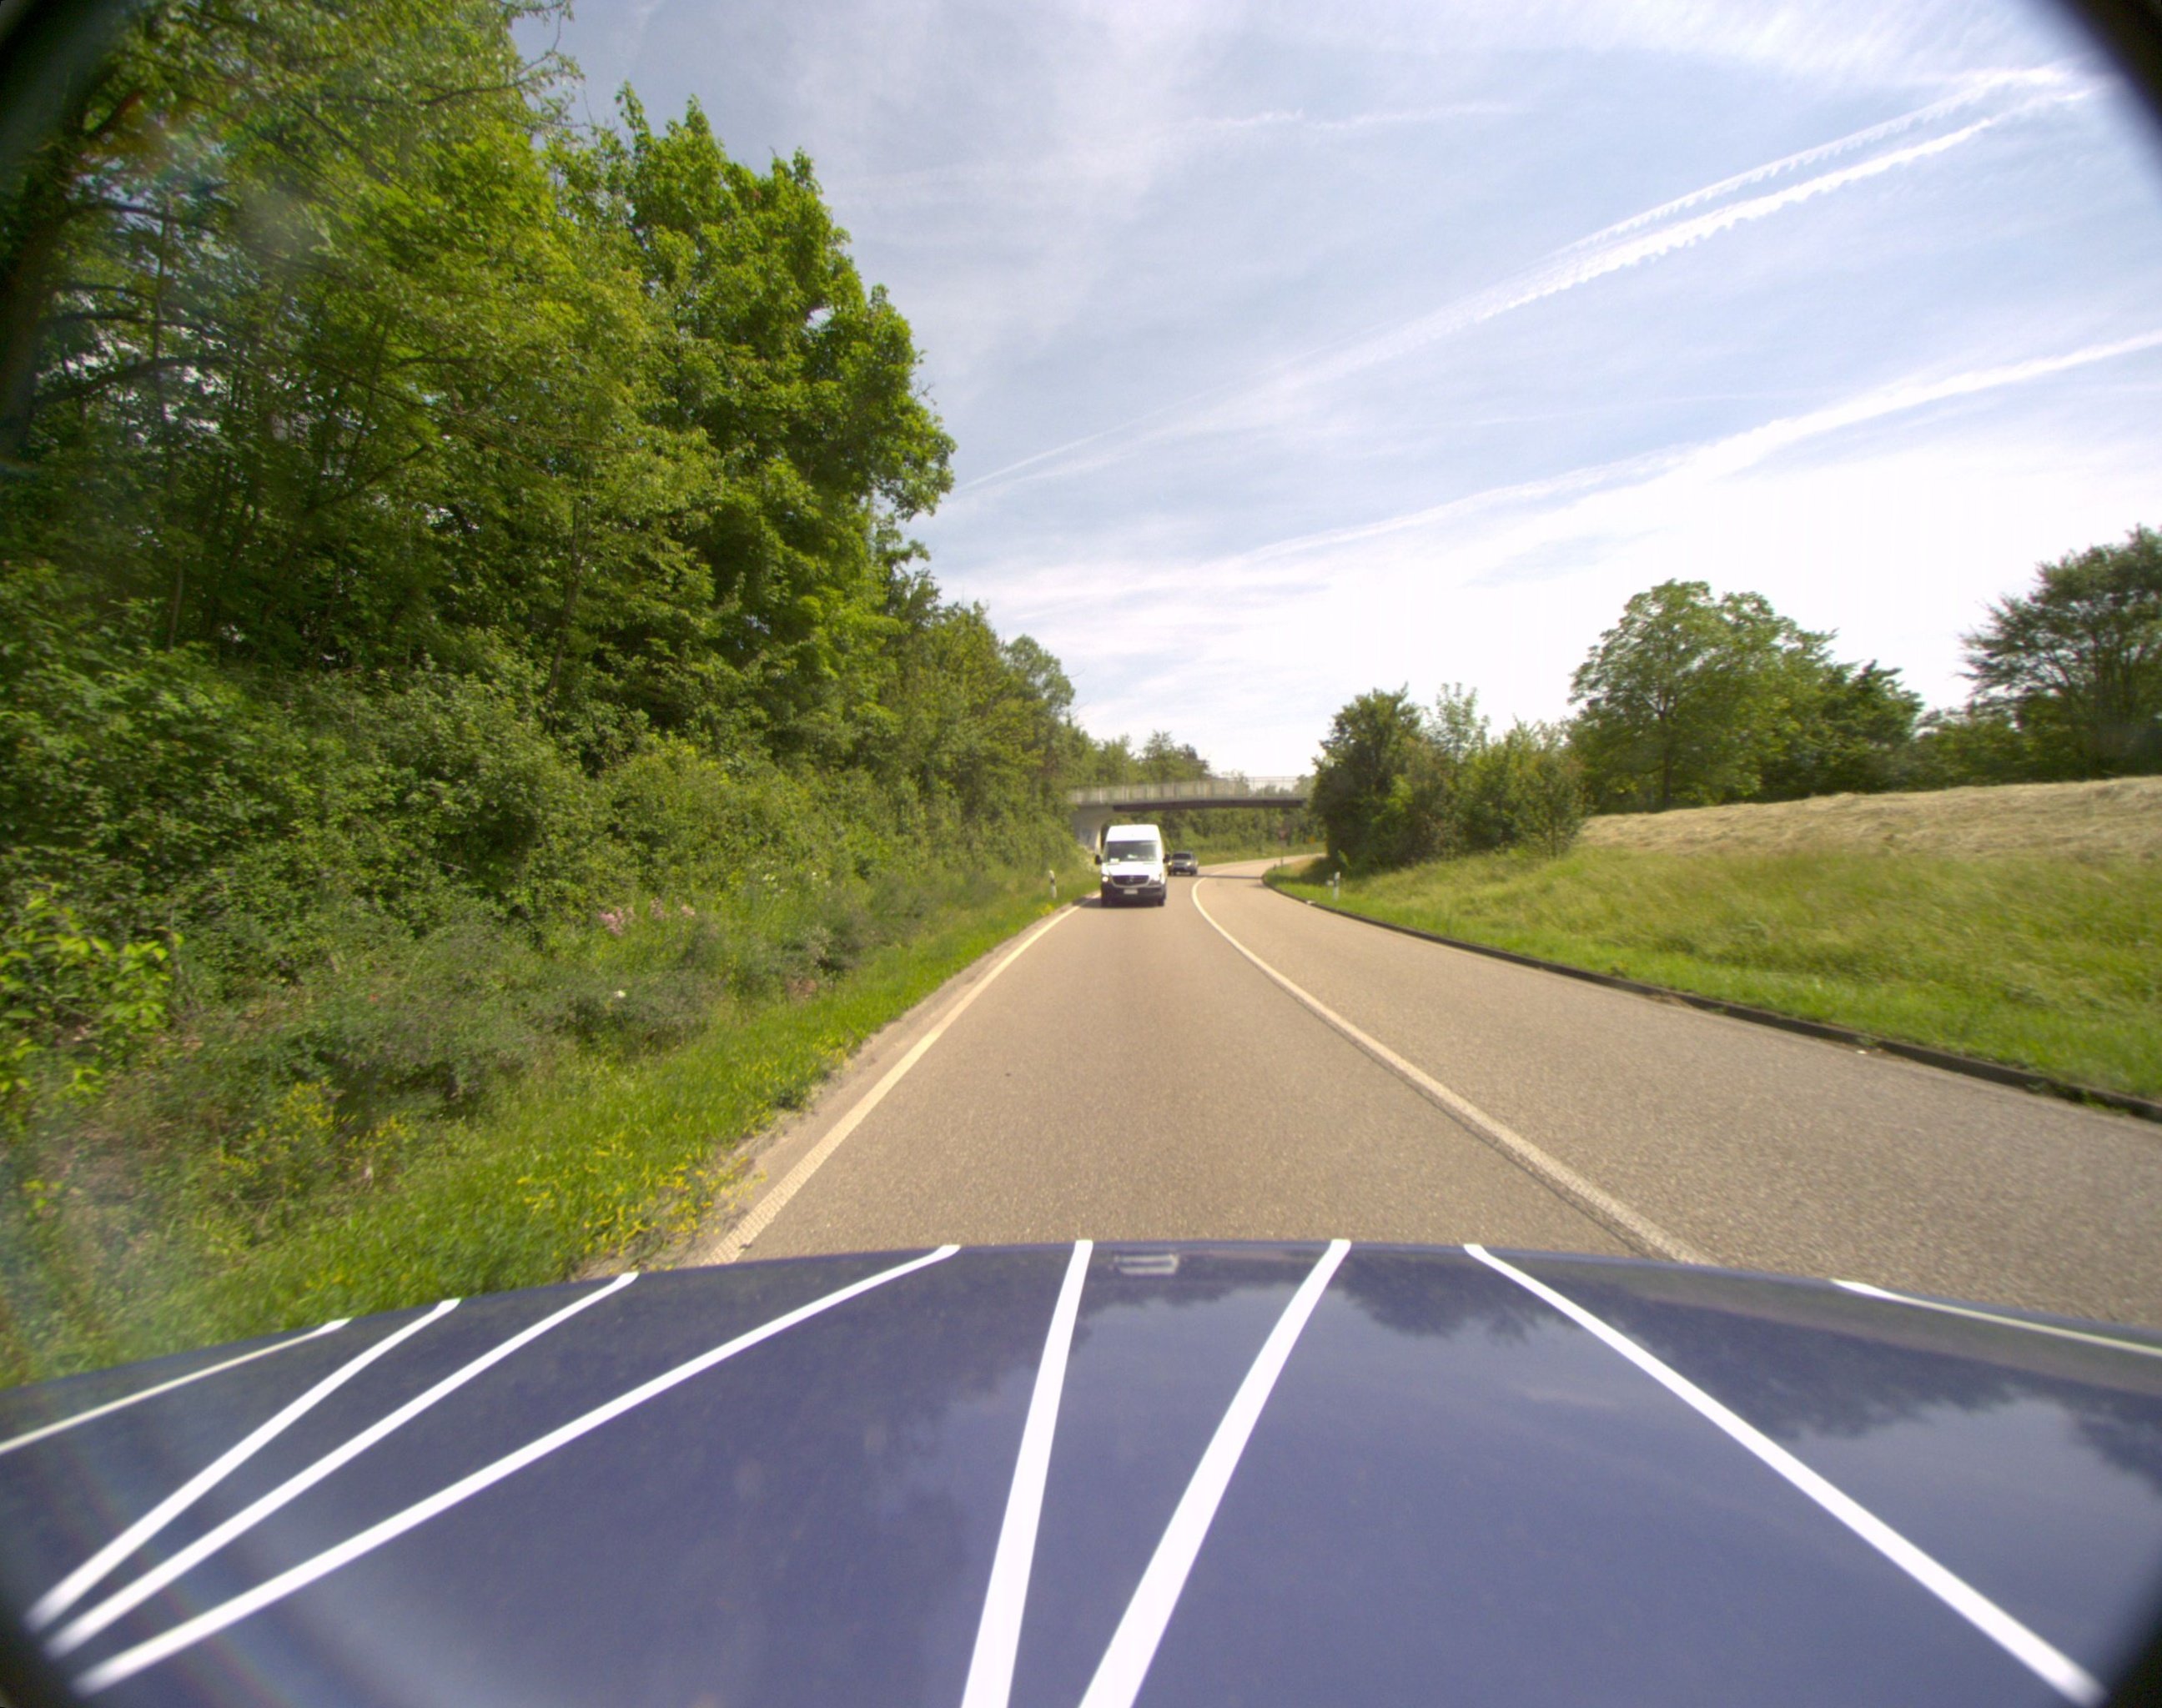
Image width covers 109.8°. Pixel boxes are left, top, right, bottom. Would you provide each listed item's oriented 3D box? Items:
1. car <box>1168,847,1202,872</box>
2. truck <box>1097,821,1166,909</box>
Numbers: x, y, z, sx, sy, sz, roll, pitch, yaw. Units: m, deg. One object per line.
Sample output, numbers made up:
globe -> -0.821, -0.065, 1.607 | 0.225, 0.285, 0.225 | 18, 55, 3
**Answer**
car -> 7.534, 0.376, 54.840 | 1.847, 1.698, 4.093 | -1, 1, 16
truck -> 1.825, 0.323, 25.424 | 1.997, 2.571, 5.890 | -1, 0, 6
